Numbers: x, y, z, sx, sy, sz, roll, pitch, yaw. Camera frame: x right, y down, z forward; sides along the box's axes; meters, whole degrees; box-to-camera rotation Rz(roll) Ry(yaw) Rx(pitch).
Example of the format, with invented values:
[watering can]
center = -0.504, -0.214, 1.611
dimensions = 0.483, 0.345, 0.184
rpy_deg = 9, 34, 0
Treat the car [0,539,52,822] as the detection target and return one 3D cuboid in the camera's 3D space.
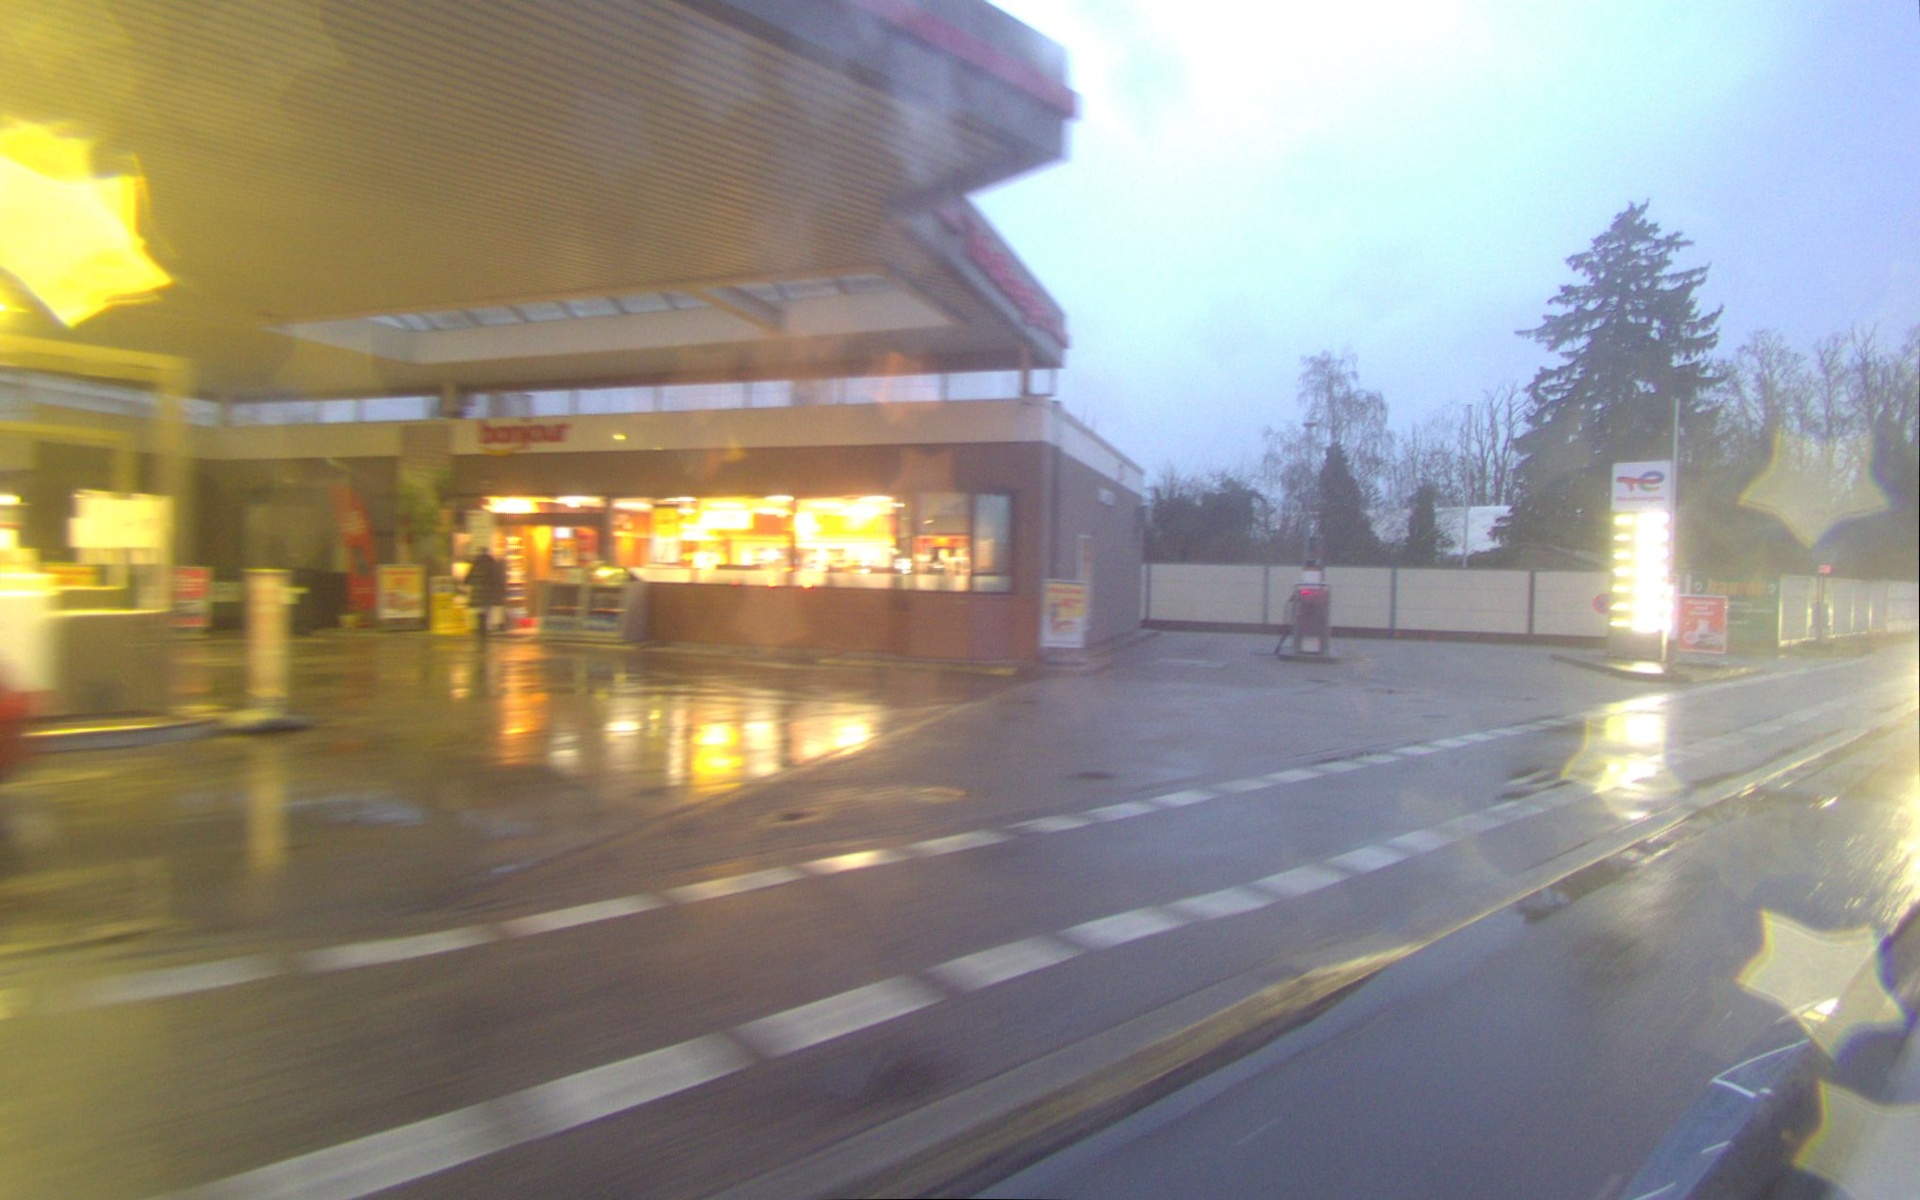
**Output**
[car]
center = -6.752, 0.374, 4.425
dimensions = 4.096, 1.413, 1.576
rpy_deg = 0, 3, -41
